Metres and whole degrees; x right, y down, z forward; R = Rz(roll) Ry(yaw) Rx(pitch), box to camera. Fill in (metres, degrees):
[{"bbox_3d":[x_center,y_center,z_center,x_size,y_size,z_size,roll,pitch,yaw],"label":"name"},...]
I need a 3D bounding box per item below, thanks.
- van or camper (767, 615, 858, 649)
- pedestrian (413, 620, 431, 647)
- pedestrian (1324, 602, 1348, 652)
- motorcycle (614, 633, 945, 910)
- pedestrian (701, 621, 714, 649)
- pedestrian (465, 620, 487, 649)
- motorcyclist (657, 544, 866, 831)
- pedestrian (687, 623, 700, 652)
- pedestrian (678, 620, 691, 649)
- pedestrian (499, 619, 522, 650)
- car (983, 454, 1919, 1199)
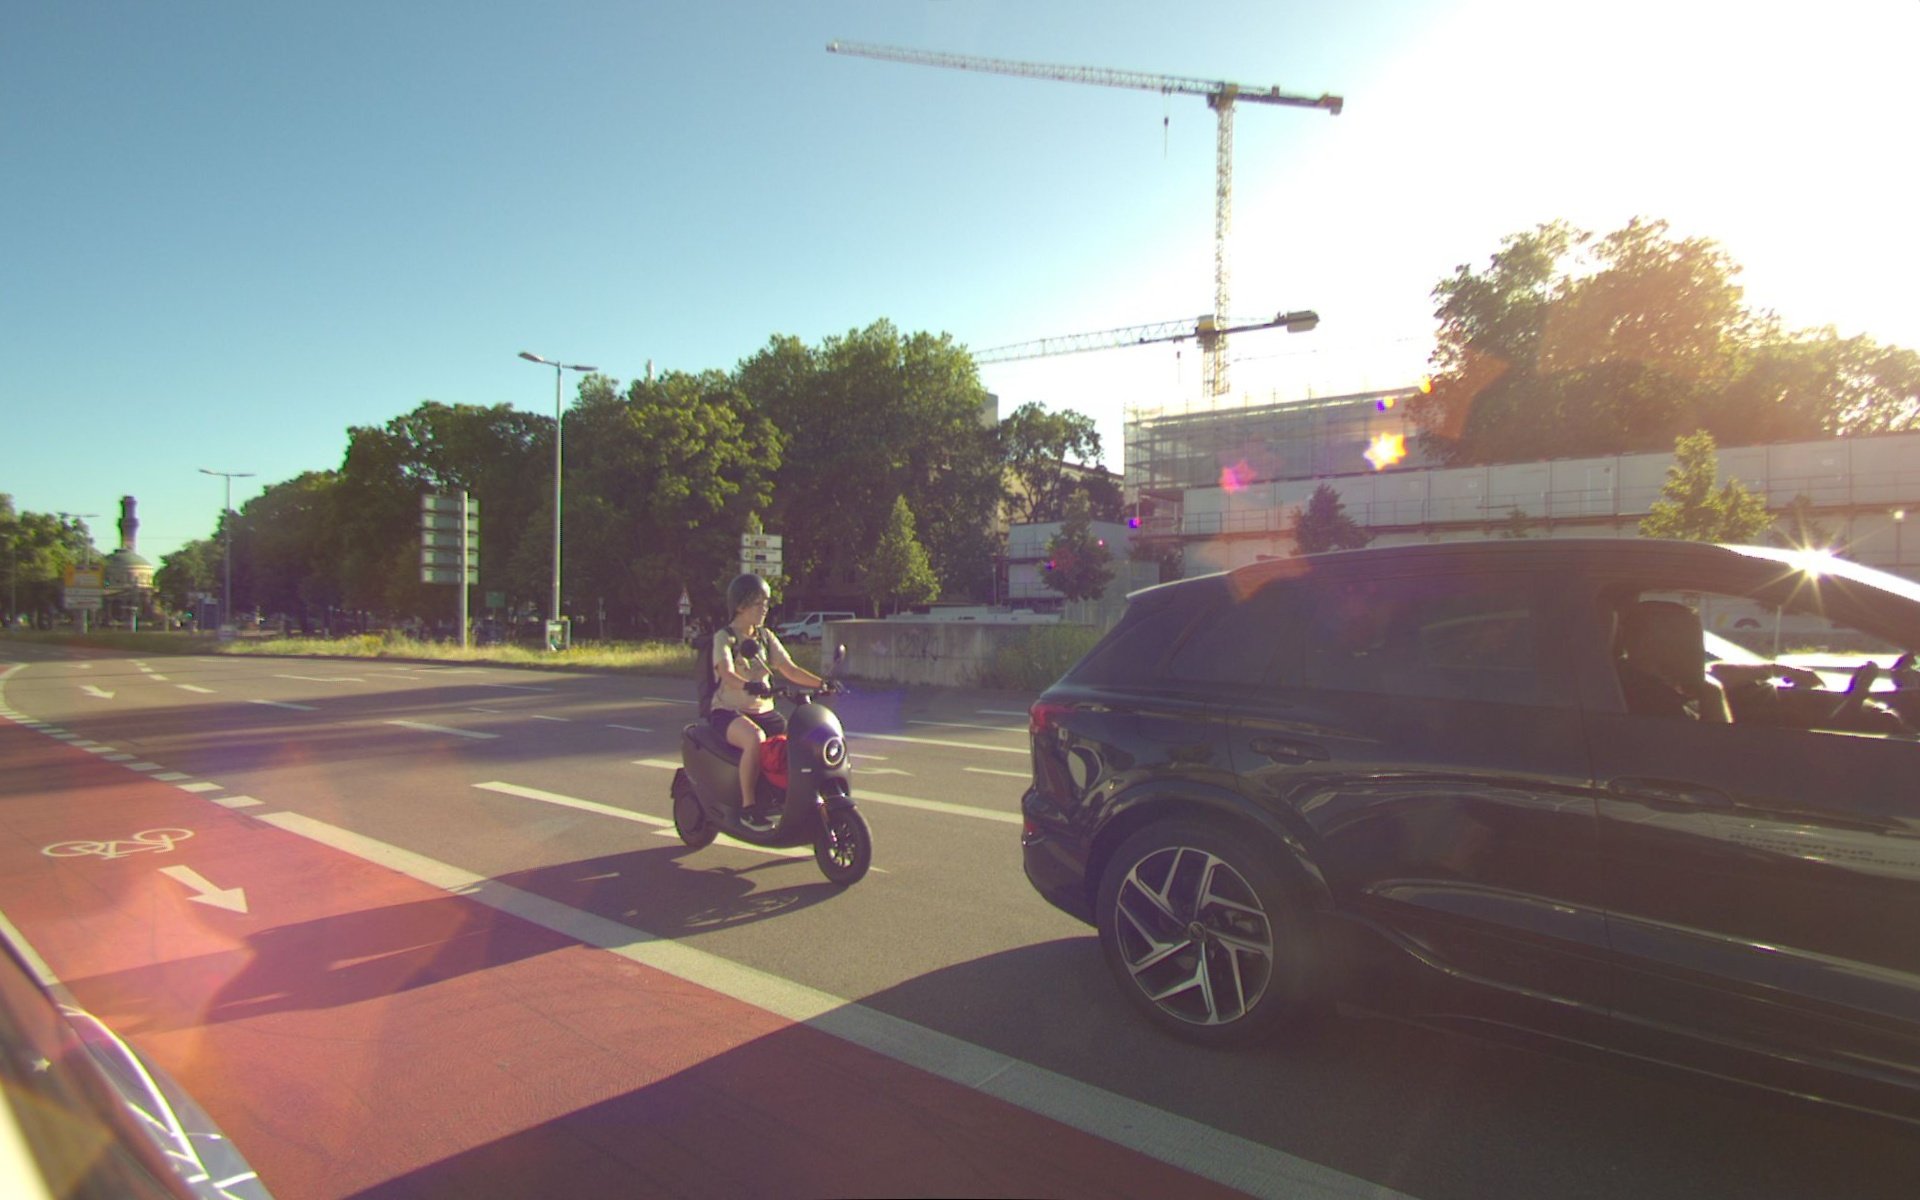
[{"bbox_3d":[-8.965,1.925,61.888,1.951,1.960,5.425,-2,-2,44],"label":"van or camper"},{"bbox_3d":[-40.596,2.521,76.329,0.942,2.029,0.842,-1,0,-9],"label":"pedestrian"},{"bbox_3d":[12.367,0.868,33.288,0.597,1.614,0.580,-1,0,38],"label":"pedestrian"},{"bbox_3d":[-1.075,0.842,5.743,1.943,1.290,0.817,-1,-2,41],"label":"motorcycle"},{"bbox_3d":[-13.779,1.902,55.273,0.494,1.522,0.492,-1,-2,41],"label":"pedestrian"},{"bbox_3d":[-33.815,2.374,70.738,1.054,1.978,0.942,-1,0,26],"label":"pedestrian"},{"bbox_3d":[-1.133,0.464,5.809,0.877,1.475,0.813,-1,-2,41],"label":"motorcyclist"},{"bbox_3d":[-14.331,2.002,54.380,0.494,1.522,0.492,-1,-2,41],"label":"pedestrian"},{"bbox_3d":[-14.662,1.828,53.849,0.494,1.522,0.492,-1,-2,41],"label":"pedestrian"},{"bbox_3d":[-29.944,2.294,67.416,0.815,1.978,1.111,-1,0,41],"label":"pedestrian"},{"bbox_3d":[2.564,0.548,3.186,4.659,1.720,2.144,-1,-1,39],"label":"car"}]
